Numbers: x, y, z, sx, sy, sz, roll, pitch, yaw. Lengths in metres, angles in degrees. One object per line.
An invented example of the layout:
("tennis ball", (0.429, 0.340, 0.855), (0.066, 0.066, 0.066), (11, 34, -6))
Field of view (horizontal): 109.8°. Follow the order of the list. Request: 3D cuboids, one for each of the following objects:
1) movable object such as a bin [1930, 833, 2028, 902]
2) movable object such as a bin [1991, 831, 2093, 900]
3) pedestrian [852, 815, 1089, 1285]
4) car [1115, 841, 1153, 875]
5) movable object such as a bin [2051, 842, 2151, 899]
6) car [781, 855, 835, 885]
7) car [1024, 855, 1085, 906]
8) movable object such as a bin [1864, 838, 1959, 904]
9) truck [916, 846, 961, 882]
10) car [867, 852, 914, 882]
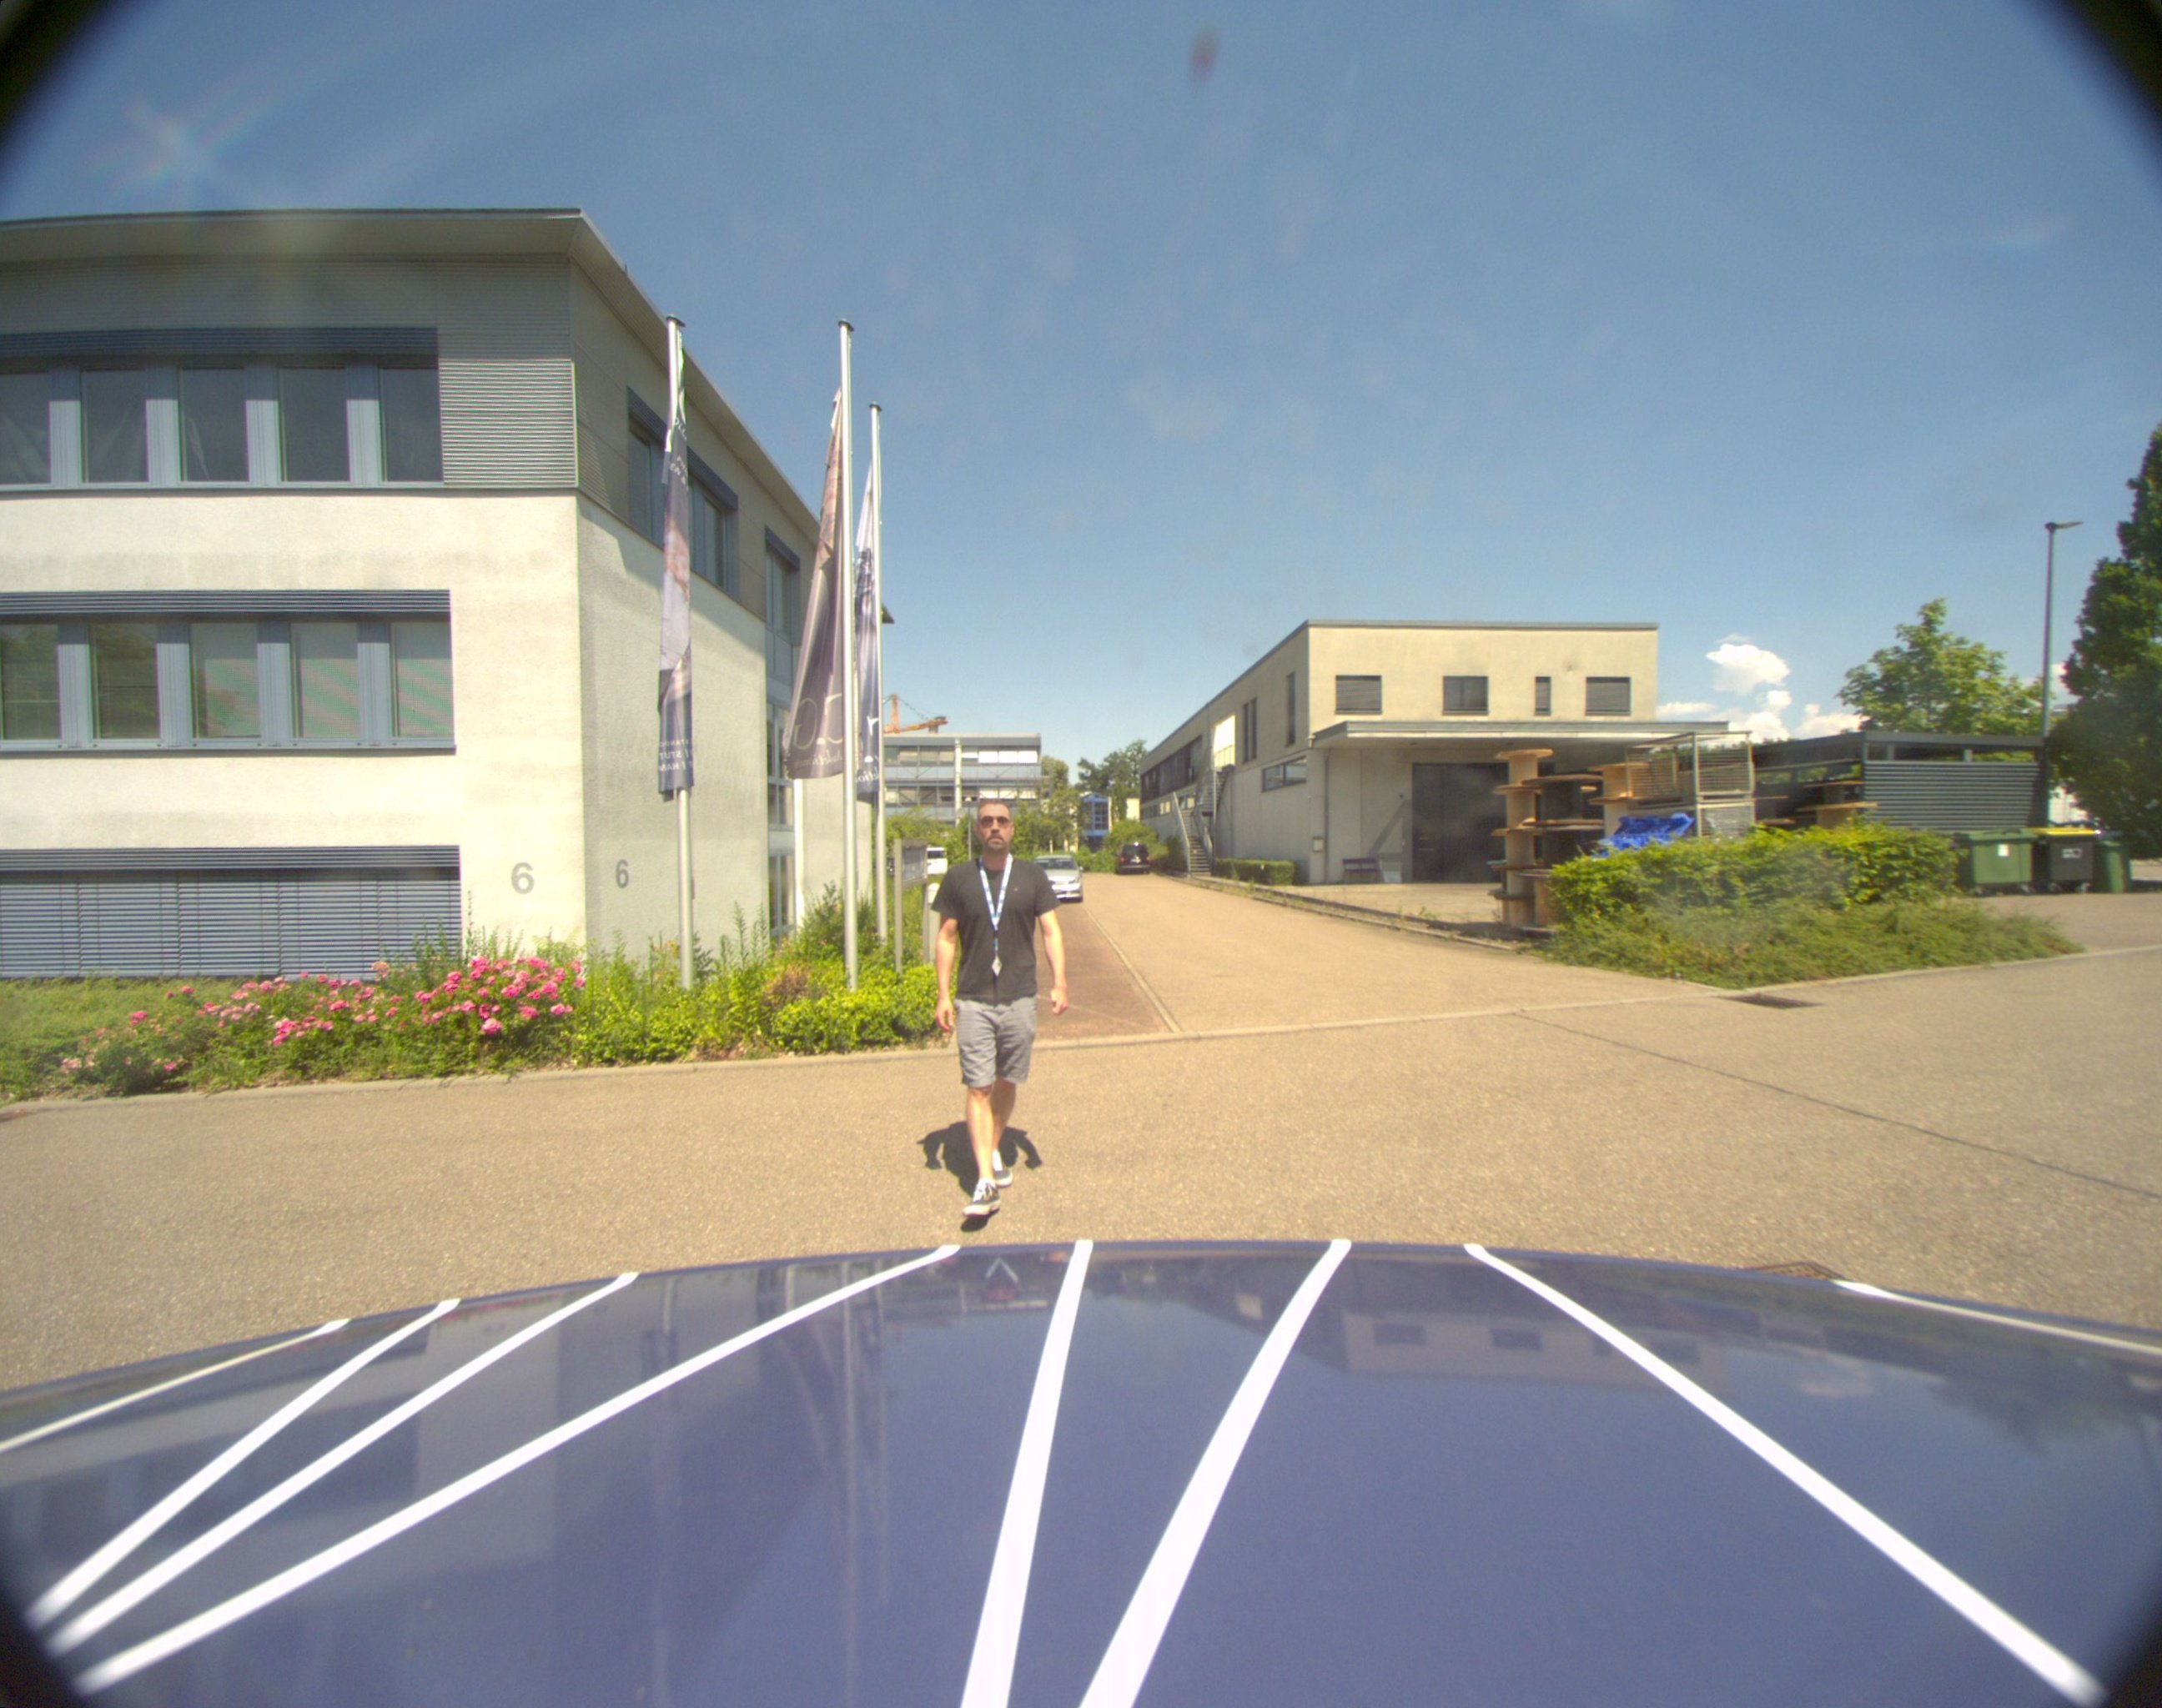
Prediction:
("movable object such as a bin", (18.013, 0.262, 15.259), (1.072, 1.329, 0.760), (-2, 1, 2))
("movable object such as a bin", (19.363, 0.227, 15.331), (1.072, 1.329, 0.760), (-2, 1, 2))
("pedestrian", (-0.470, 0.759, 3.437), (0.860, 1.809, 0.904), (-2, 1, -6))
("car", (3.062, 0.193, 44.642), (1.787, 1.793, 3.998), (-2, 1, -1))
("movable object such as a bin", (20.472, 0.317, 15.271), (0.987, 1.078, 0.760), (-2, 1, 2))
("car", (-15.560, 0.870, 43.525), (1.788, 1.537, 3.998), (-2, 1, -3))
("car", (-0.763, 0.768, 23.893), (1.711, 1.383, 3.810), (-1, 1, 1))
("movable object such as a bin", (16.807, 0.328, 15.401), (1.072, 1.264, 0.760), (-2, 1, 2))
("truck", (-8.024, 0.511, 43.178), (1.999, 1.883, 3.998), (-2, 1, -4))
("car", (-10.892, 0.714, 43.707), (1.788, 1.537, 3.998), (-2, 1, -3))
